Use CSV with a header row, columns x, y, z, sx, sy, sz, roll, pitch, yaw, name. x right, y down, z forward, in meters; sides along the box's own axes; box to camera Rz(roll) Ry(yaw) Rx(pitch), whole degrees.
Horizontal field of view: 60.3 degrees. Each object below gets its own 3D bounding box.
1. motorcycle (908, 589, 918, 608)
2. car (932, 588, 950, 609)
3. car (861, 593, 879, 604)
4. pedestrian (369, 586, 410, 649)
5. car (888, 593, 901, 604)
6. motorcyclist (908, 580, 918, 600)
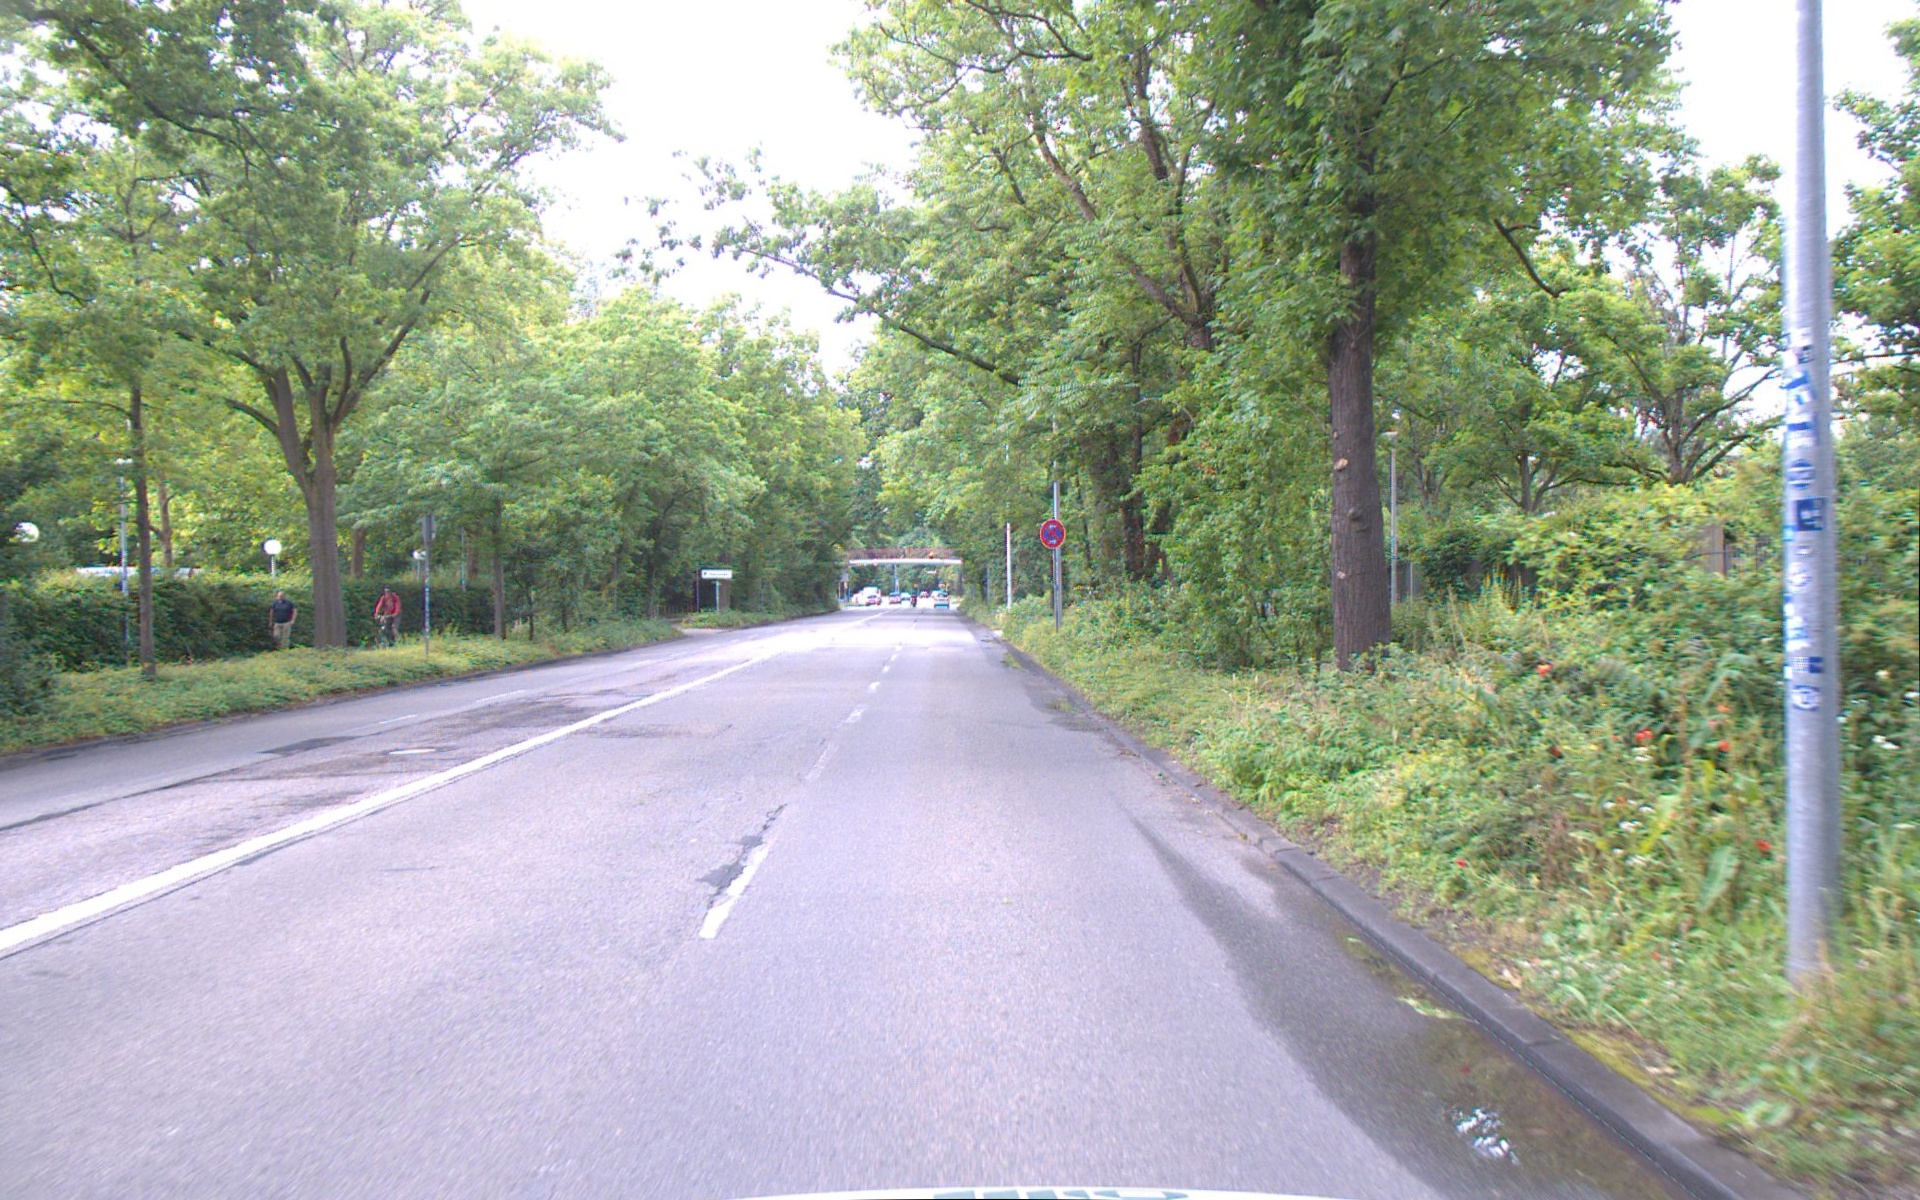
x,y,z,sx,sy,sz,roll,pitch,yaw,name
-4.952,-0.210,174.063,0.970,1.970,2.668,0,0,-1,motorcycle
-1.955,-0.172,170.314,1.806,2.049,3.999,0,0,-1,car
-11.822,-0.237,217.277,1.952,1.377,3.896,0,1,2,car
-14.997,0.460,43.483,0.775,1.641,0.848,0,0,-1,pedestrian
-8.619,-0.248,217.316,1.642,1.386,3.918,0,1,-4,car
-4.973,-1.037,173.910,1.042,2.049,0.842,0,0,-1,motorcyclist
